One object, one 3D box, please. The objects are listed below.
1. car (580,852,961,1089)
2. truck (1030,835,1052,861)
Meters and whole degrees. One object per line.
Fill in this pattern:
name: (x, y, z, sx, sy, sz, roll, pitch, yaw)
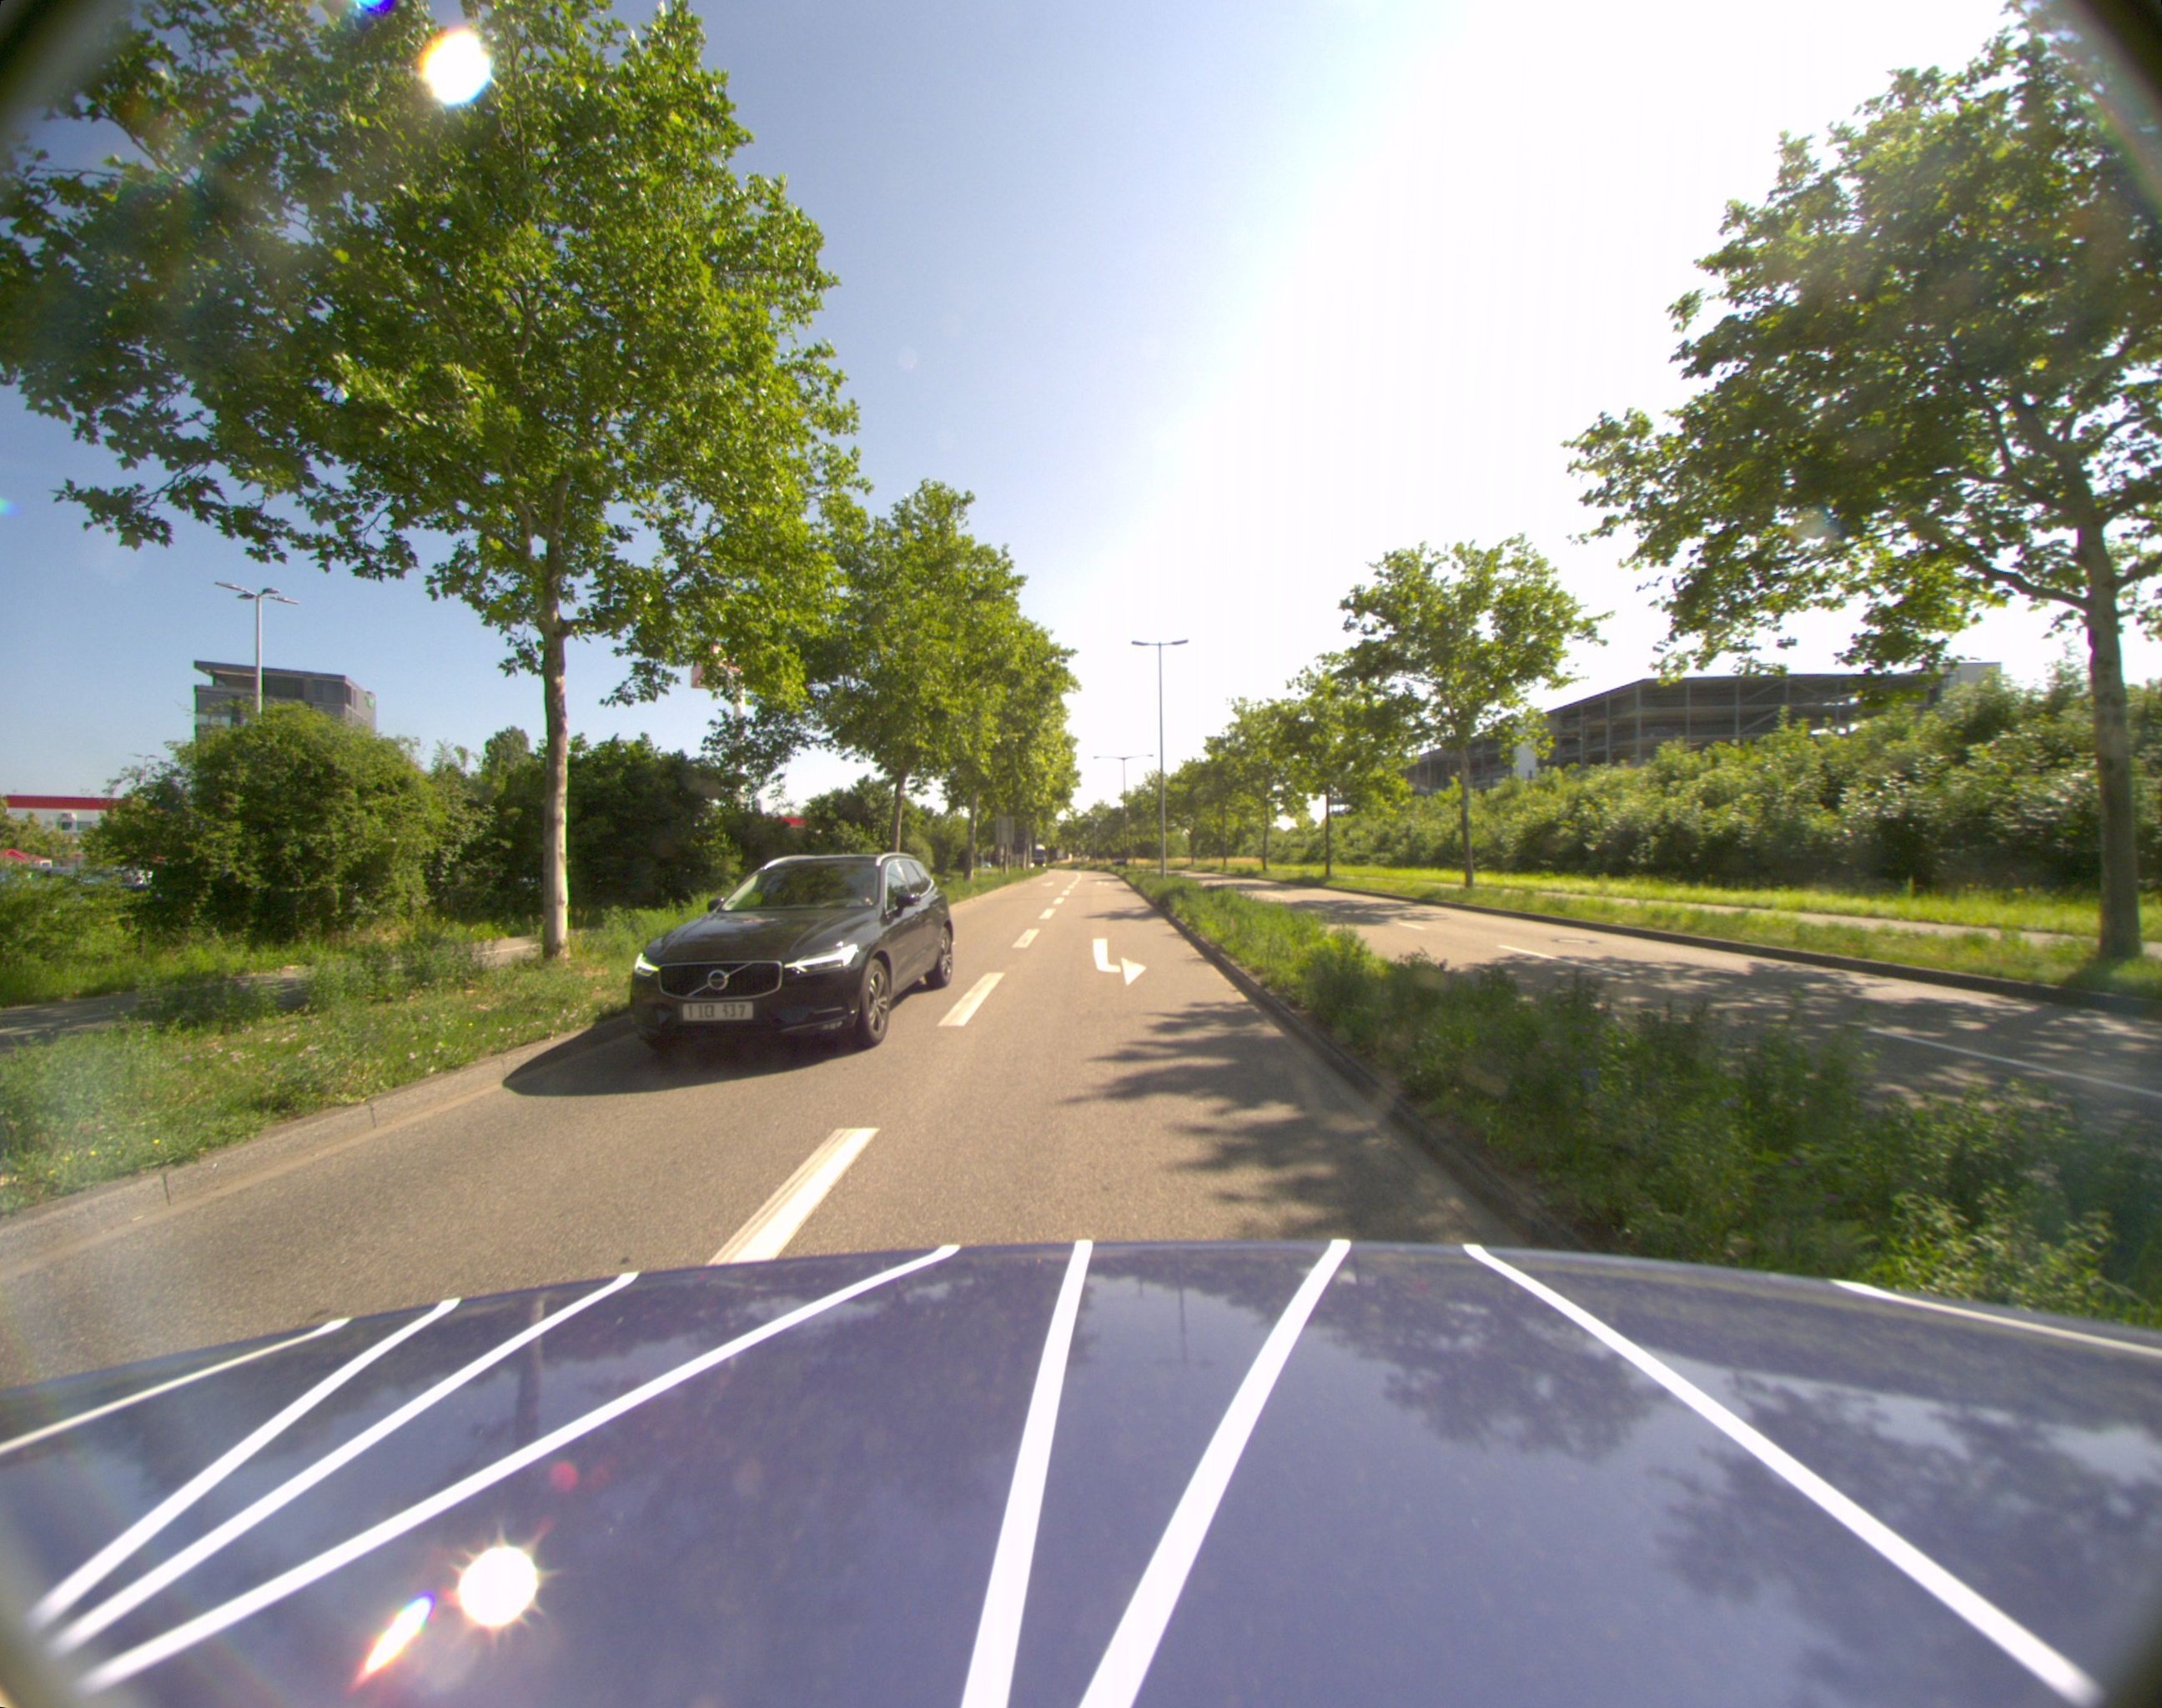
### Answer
car: (-2.579, 0.829, 7.712, 1.924, 1.613, 4.564, -2, 1, 0)
truck: (-6.367, -0.921, 119.242, 2.743, 3.872, 5.846, -2, 1, -9)
